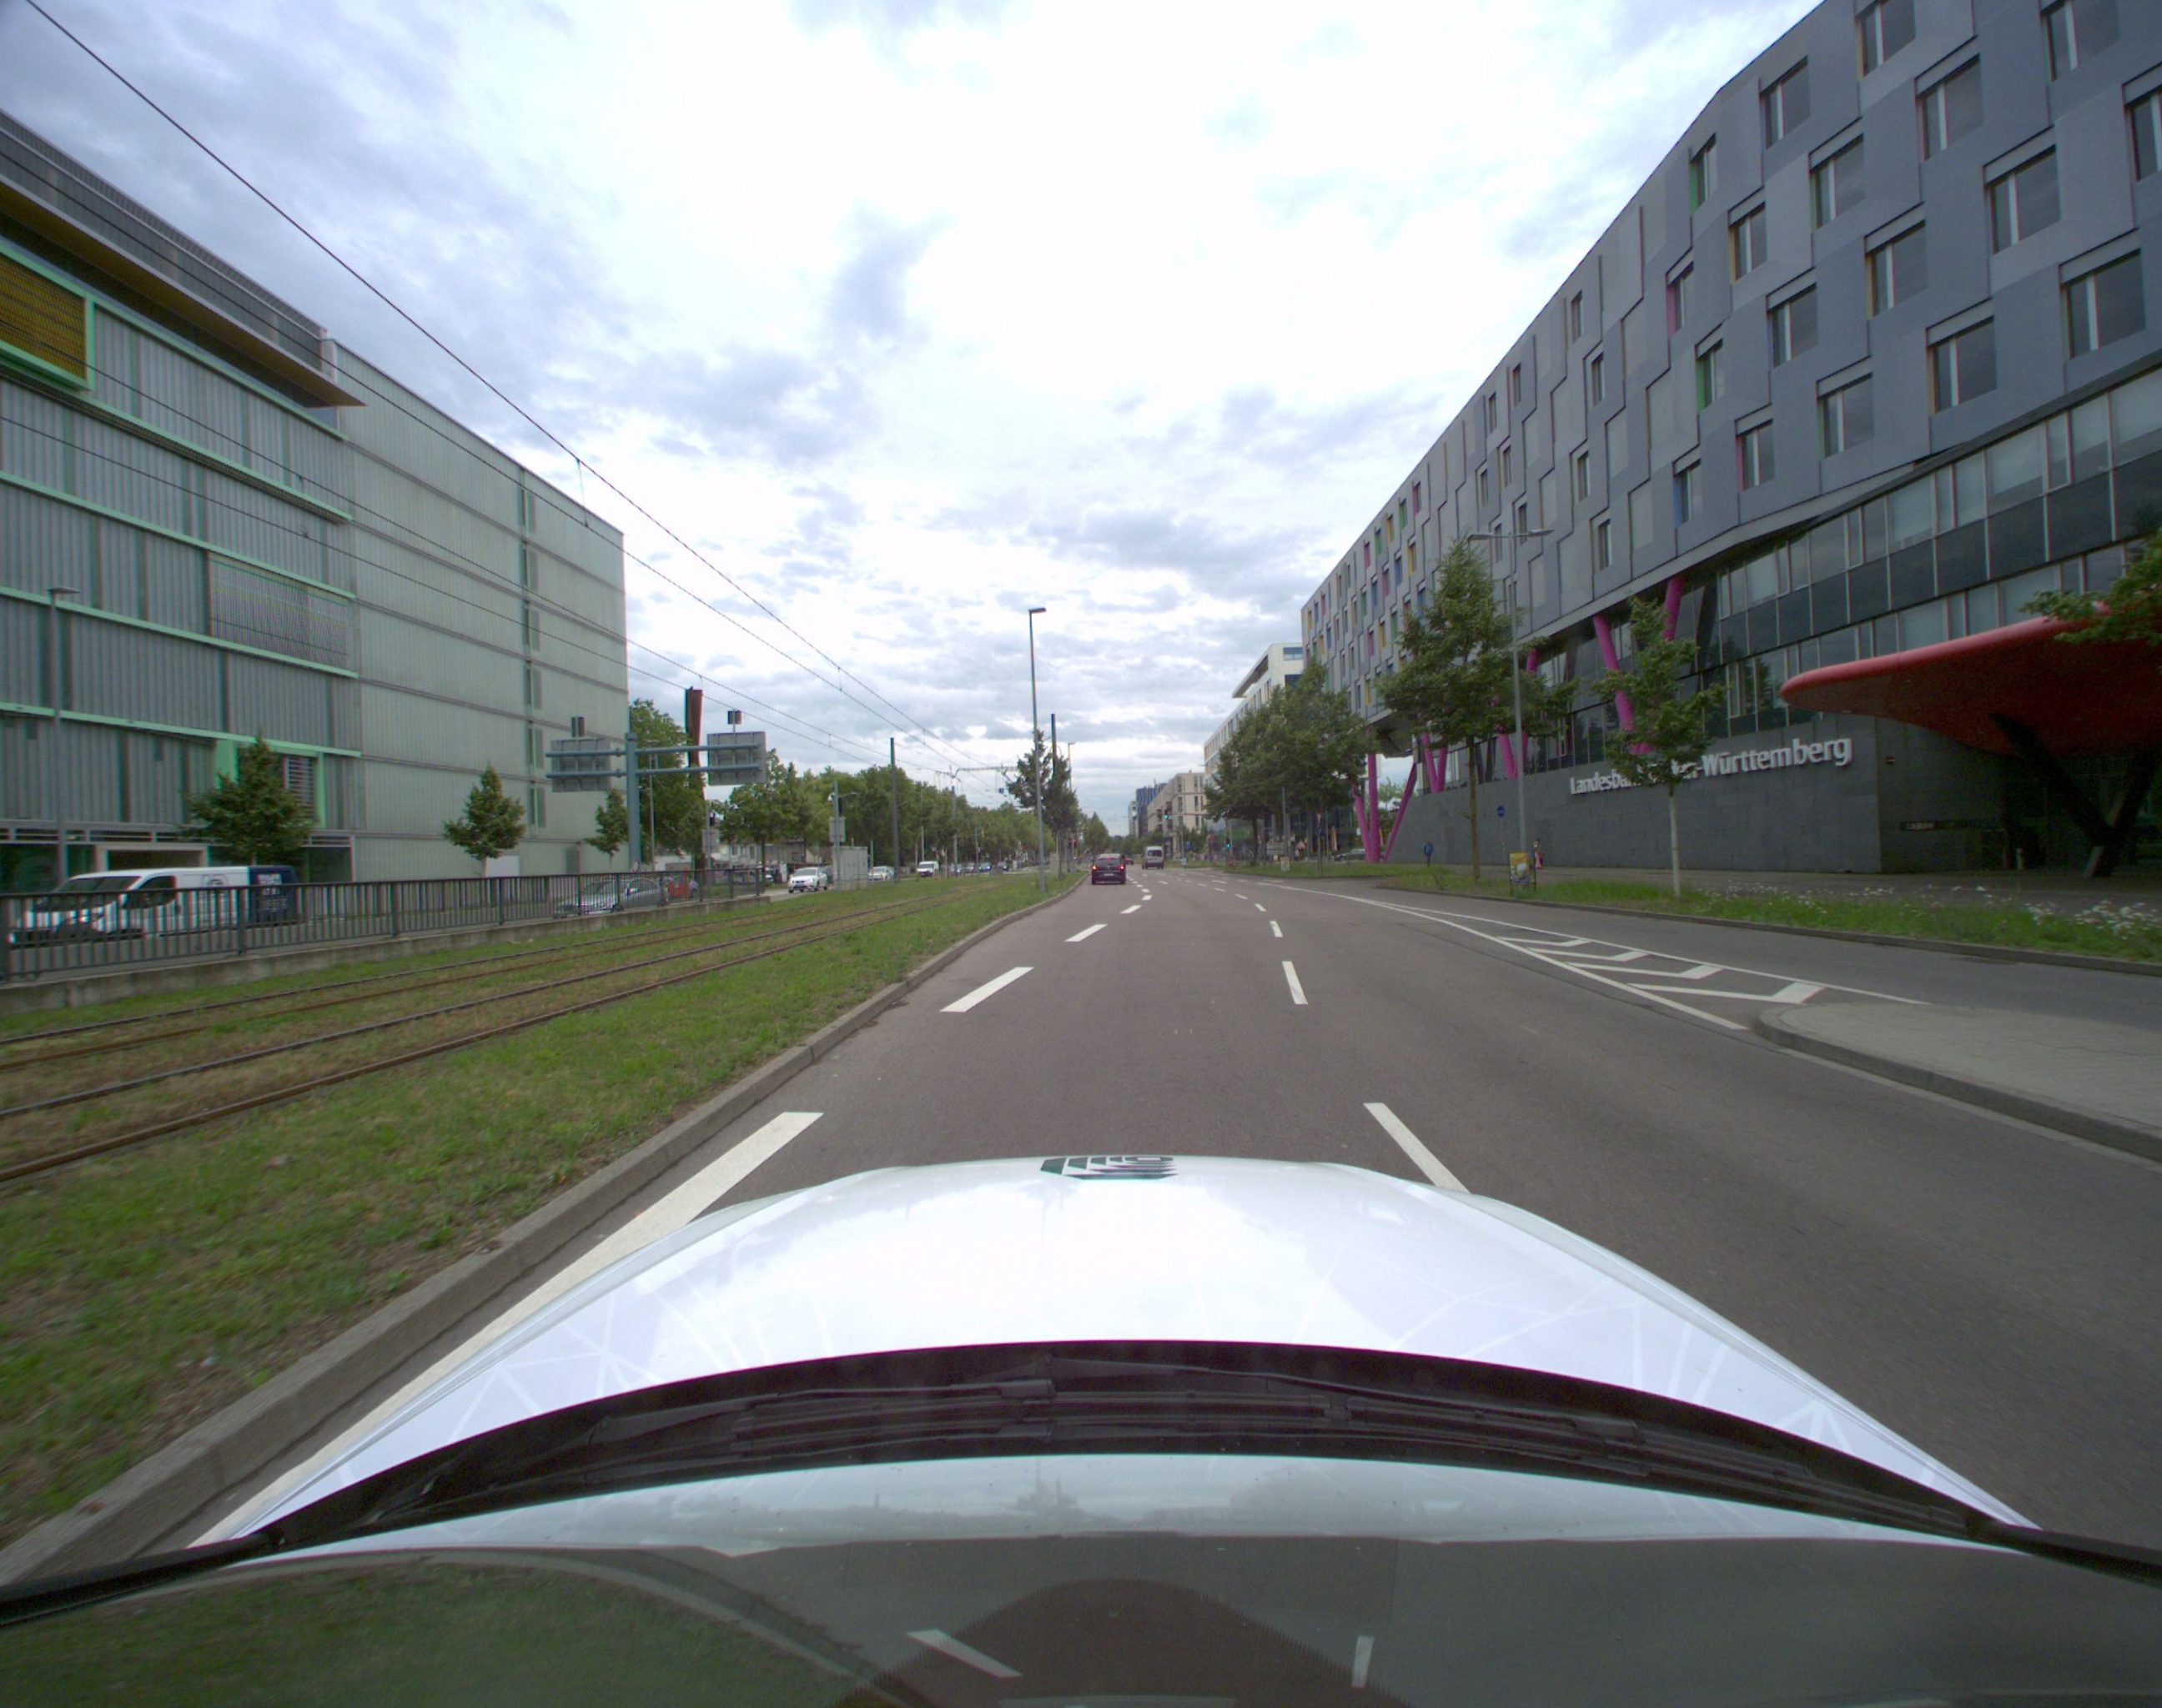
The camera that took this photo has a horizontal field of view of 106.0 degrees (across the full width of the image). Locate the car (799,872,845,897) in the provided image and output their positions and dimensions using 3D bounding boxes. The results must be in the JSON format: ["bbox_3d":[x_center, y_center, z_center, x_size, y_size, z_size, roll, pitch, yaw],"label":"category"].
[{"bbox_3d":[-21.345,2.481,67.388,1.986,1.823,4.970,-2,0,2],"label":"car"}]

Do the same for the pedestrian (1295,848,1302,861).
[{"bbox_3d":[27.489,0.036,102.856,0.612,1.604,0.619,-2,-1,4],"label":"pedestrian"}]

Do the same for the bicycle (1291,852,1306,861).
[{"bbox_3d":[27.456,0.306,102.861,1.784,1.085,0.618,-2,-1,3],"label":"bicycle"}]

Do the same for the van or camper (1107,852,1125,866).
[{"bbox_3d":[4.240,0.591,98.449,1.985,1.615,4.792,-1,1,2],"label":"van or camper"}]

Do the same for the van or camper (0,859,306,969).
[{"bbox_3d":[-22.756,1.312,19.980,2.165,2.286,5.361,-2,0,2],"label":"van or camper"}]

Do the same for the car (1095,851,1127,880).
[{"bbox_3d":[1.813,0.689,48.912,1.796,1.624,4.001,-2,-1,2],"label":"car"}]

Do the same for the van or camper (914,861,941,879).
[{"bbox_3d":[-16.879,1.727,89.707,1.883,1.900,5.124,-3,-1,0],"label":"van or camper"}]

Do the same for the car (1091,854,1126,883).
[{"bbox_3d":[1.397,0.734,42.523,1.737,1.417,4.001,-1,0,1],"label":"car"}]

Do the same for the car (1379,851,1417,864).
[{"bbox_3d":[39.311,0.480,101.065,4.063,1.455,1.759,-2,-1,3],"label":"car"}]

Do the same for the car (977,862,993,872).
[{"bbox_3d":[-15.147,2.053,128.875,1.957,1.588,4.689,-1,0,1],"label":"car"}]

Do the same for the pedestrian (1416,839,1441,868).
[{"bbox_3d":[22.207,-0.035,52.046,1.047,1.770,1.137,-2,0,2],"label":"pedestrian"}]

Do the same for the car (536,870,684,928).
[{"bbox_3d":[-15.071,1.362,26.449,1.775,1.514,4.972,-2,1,1],"label":"car"}]

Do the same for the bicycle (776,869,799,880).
[{"bbox_3d":[-34.585,2.449,96.076,2.520,1.202,0.734,-2,-1,-25],"label":"bicycle"}]

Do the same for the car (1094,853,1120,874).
[{"bbox_3d":[2.181,0.780,67.717,1.985,1.682,4.004,-1,0,4],"label":"car"}]

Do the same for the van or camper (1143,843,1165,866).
[{"bbox_3d":[8.006,-0.025,89.342,2.101,2.356,4.926,-1,1,2],"label":"van or camper"}]

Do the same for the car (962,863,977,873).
[{"bbox_3d":[-17.891,2.341,131.202,1.790,1.571,4.577,1,-1,0],"label":"car"}]

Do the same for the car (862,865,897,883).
[{"bbox_3d":[-17.619,1.732,71.490,1.756,1.479,4.574,-3,-1,1],"label":"car"}]

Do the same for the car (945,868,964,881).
[{"bbox_3d":[-16.252,2.597,104.976,1.724,1.445,4.917,-4,0,-3],"label":"car"}]

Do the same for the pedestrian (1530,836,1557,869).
[{"bbox_3d":[22.815,-0.054,40.205,0.781,1.582,0.915,-2,0,2],"label":"pedestrian"}]

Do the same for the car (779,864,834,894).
[{"bbox_3d":[-16.289,1.431,48.523,1.990,1.586,4.372,-2,0,-4],"label":"car"}]
